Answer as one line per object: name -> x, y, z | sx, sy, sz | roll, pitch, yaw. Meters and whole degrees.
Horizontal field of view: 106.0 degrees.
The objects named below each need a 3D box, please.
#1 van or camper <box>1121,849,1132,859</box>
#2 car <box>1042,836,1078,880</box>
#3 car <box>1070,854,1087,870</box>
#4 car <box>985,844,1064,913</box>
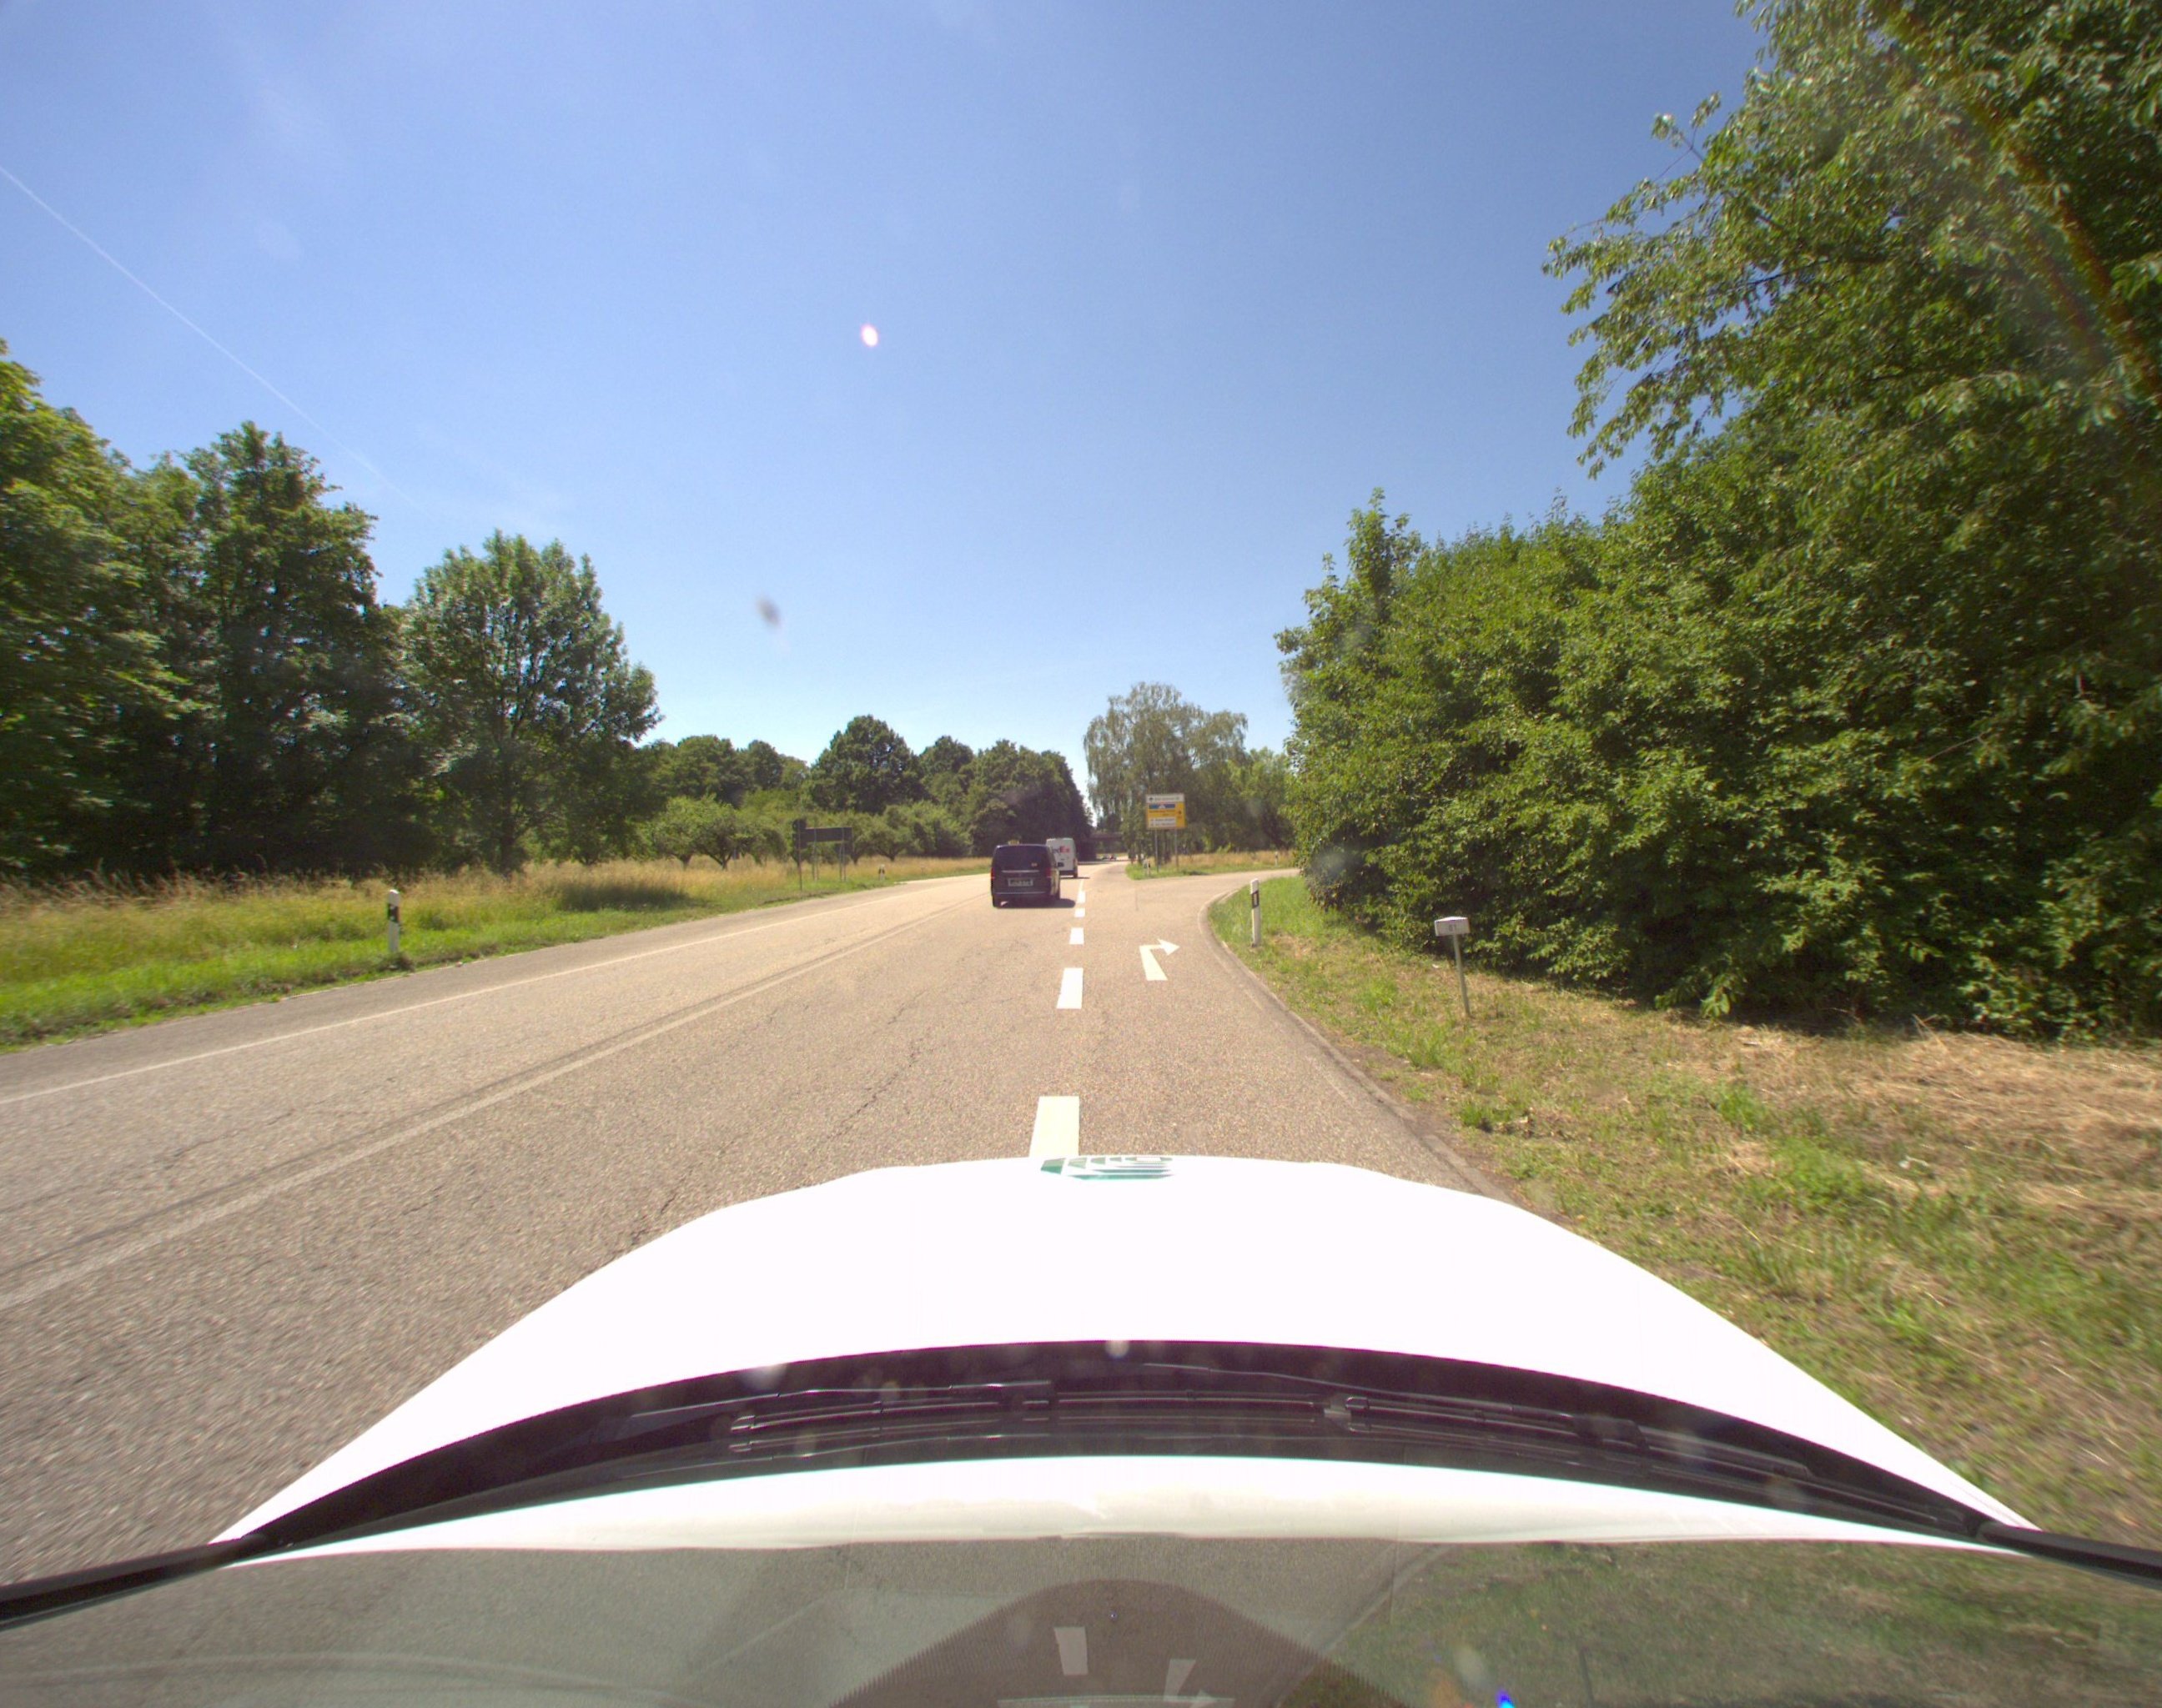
van or camper -> 12.986, -0.051, 232.470 | 2.624, 2.929, 5.205 | 0, -1, 0
car -> -1.299, 0.267, 52.933 | 2.070, 2.702, 4.667 | 0, 0, 1
car -> -0.286, 1.025, 109.034 | 1.985, 2.013, 4.003 | 1, 0, 3
car -> -1.657, 0.703, 25.611 | 1.986, 1.952, 5.006 | 0, 0, 1
